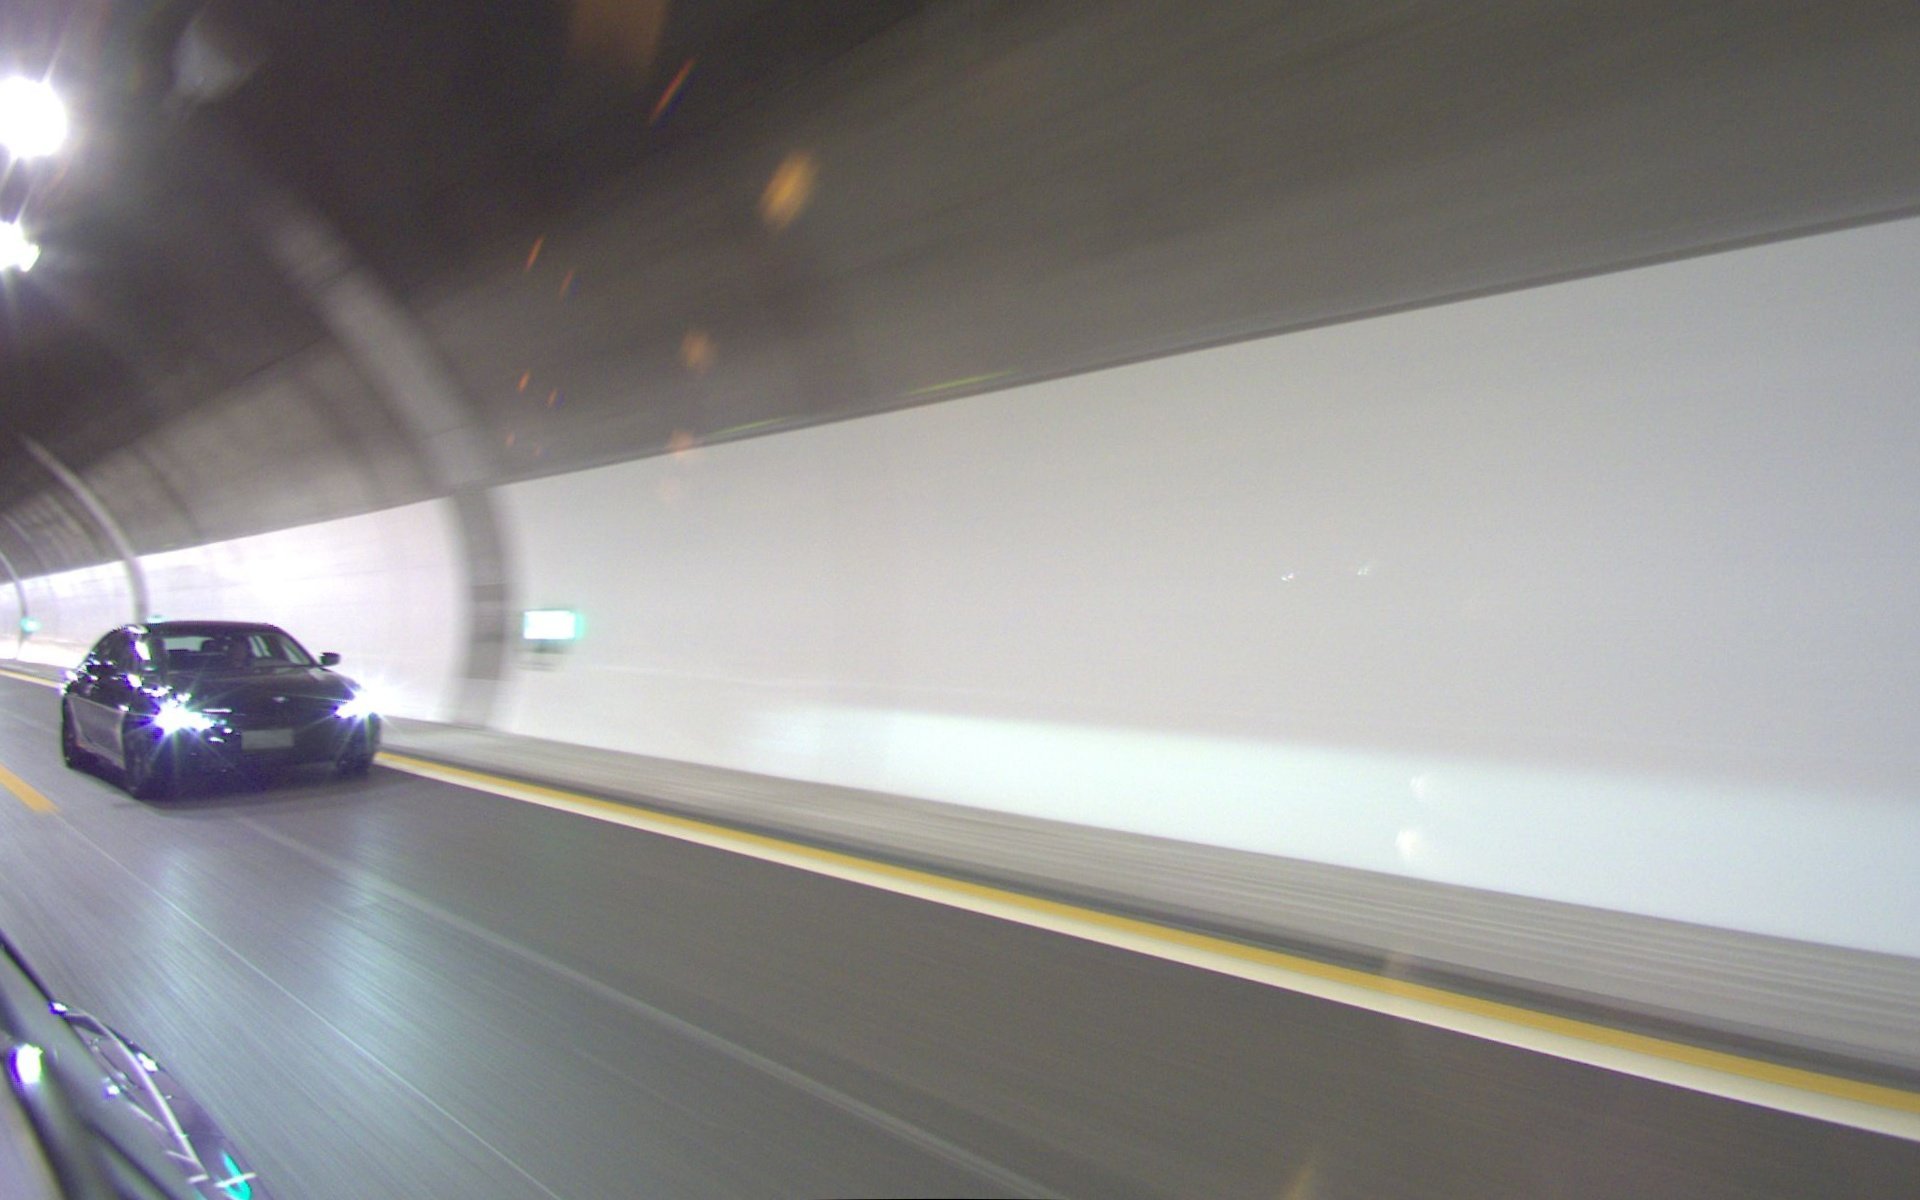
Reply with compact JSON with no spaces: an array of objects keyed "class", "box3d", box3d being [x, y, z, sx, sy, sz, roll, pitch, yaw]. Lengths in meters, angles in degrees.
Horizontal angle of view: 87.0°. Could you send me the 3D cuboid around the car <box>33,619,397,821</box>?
[{"class":"car","box3d":[-7.358,0.946,9.771,4.879,1.449,1.760,-1,0,40]}]
